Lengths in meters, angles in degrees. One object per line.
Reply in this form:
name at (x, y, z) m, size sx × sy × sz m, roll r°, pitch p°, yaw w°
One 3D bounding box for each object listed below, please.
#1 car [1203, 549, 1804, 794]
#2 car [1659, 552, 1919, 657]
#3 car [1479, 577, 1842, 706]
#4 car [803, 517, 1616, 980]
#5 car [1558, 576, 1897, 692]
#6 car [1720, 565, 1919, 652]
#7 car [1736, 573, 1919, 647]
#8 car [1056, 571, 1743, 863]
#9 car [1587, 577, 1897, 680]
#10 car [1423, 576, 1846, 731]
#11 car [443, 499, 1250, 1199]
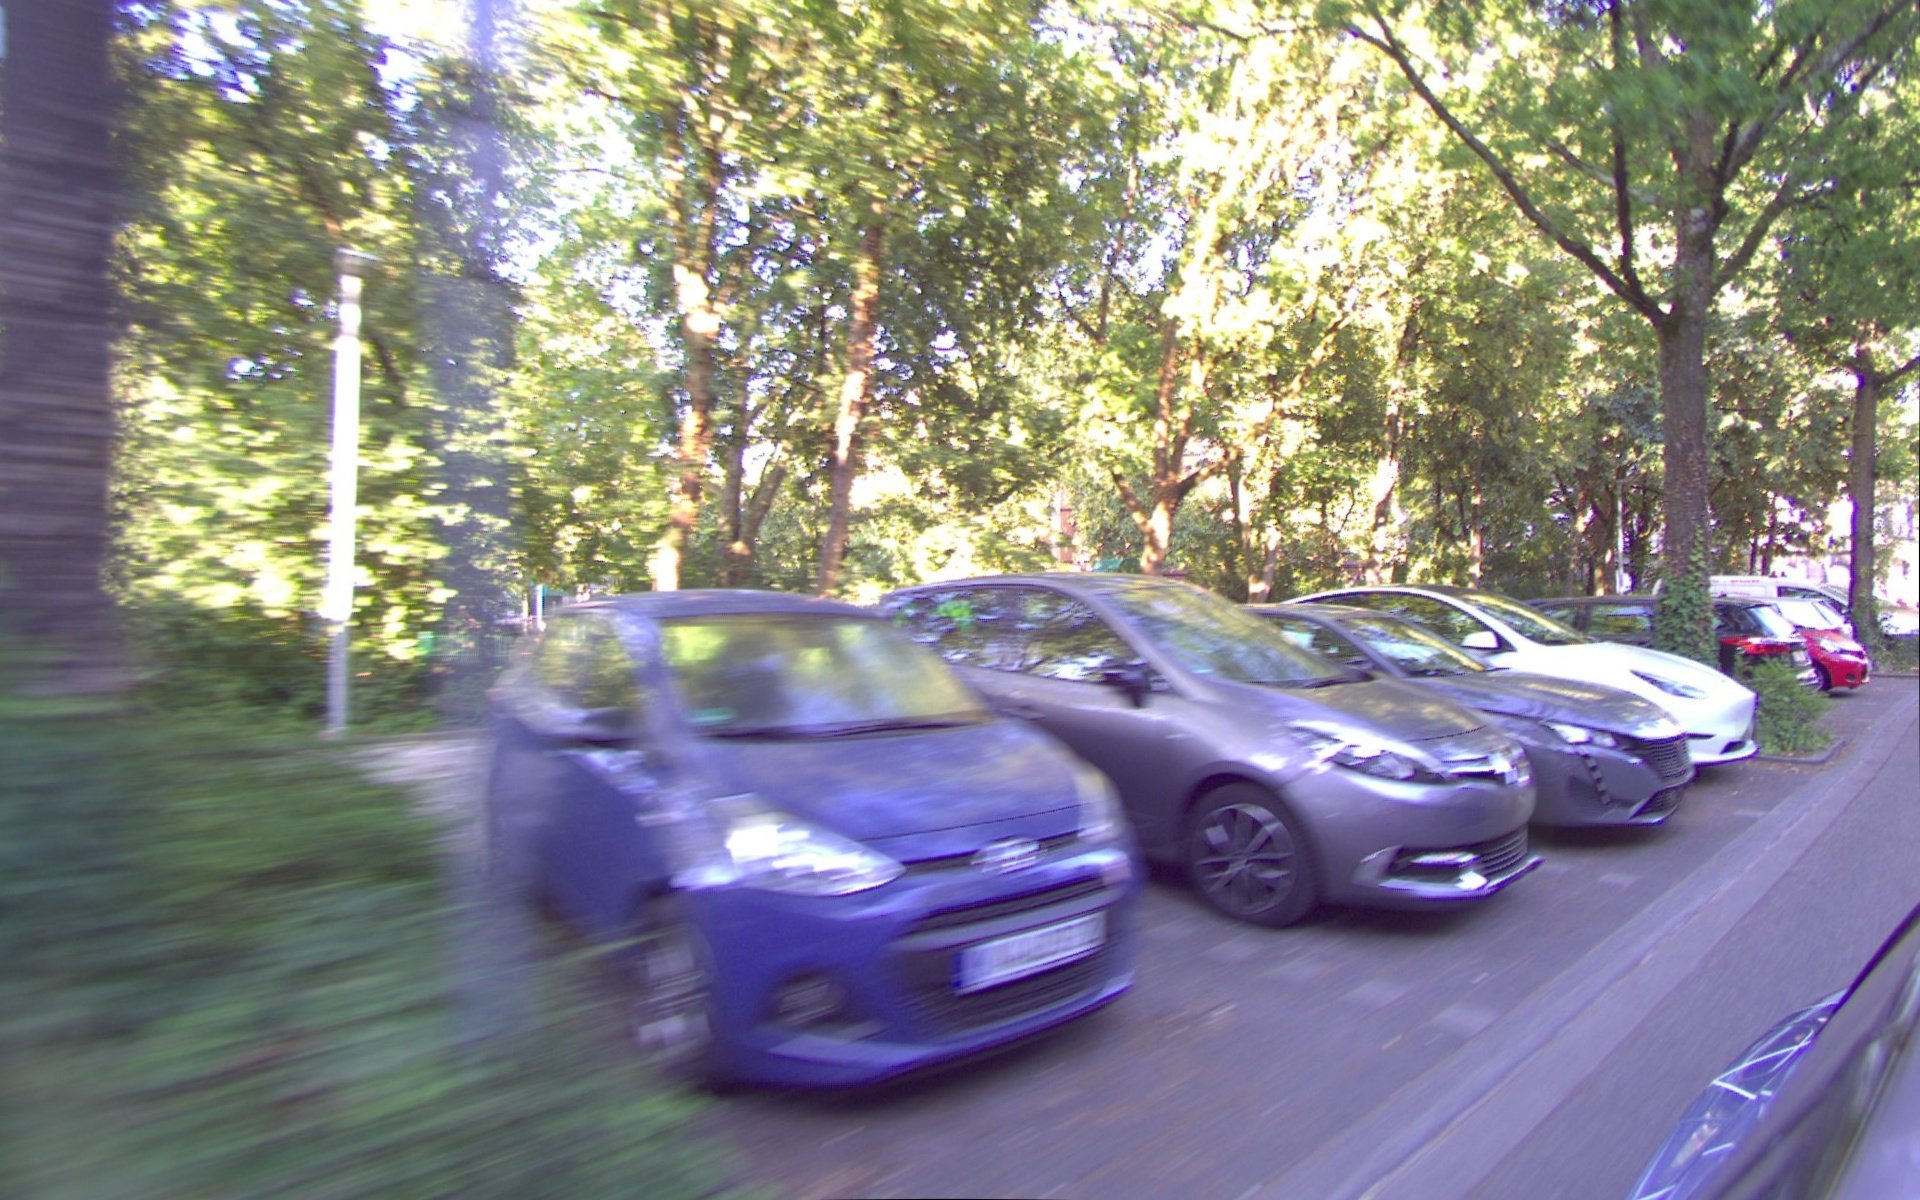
car at (4.746, 0.565, 9.468) m, size 1.874 × 1.717 × 4.539 m, roll -1°, pitch -1°, yaw -40°
car at (17.393, 0.028, 20.787) m, size 1.839 × 1.949 × 4.681 m, roll -1°, pitch 2°, yaw -40°
car at (9.920, 0.575, 14.591) m, size 1.559 × 1.594 × 3.993 m, roll -1°, pitch -1°, yaw -40°
car at (1.095, 0.616, 6.055) m, size 1.875 × 1.730 × 4.378 m, roll -1°, pitch -2°, yaw -43°
car at (11.976, 0.526, 16.028) m, size 1.559 × 1.594 × 3.993 m, roll -1°, pitch -1°, yaw -40°
car at (19.474, 0.207, 22.258) m, size 1.765 × 1.780 × 3.999 m, roll -1°, pitch -1°, yaw -35°
car at (21.247, 0.244, 24.182) m, size 1.768 × 1.648 × 3.990 m, roll -1°, pitch -2°, yaw -42°
car at (2.961, 0.682, 7.672) m, size 1.843 × 1.552 × 4.381 m, roll -1°, pitch -1°, yaw -40°
car at (13.668, 0.496, 17.908) m, size 1.635 × 1.594 × 3.997 m, roll -1°, pitch -1°, yaw -36°
car at (8.108, 0.606, 12.496) m, size 1.559 × 1.594 × 4.027 m, roll -1°, pitch -1°, yaw -40°
car at (-1.083, 0.597, 4.677) m, size 1.702 × 1.626 × 4.600 m, roll -1°, pitch 0°, yaw -35°
